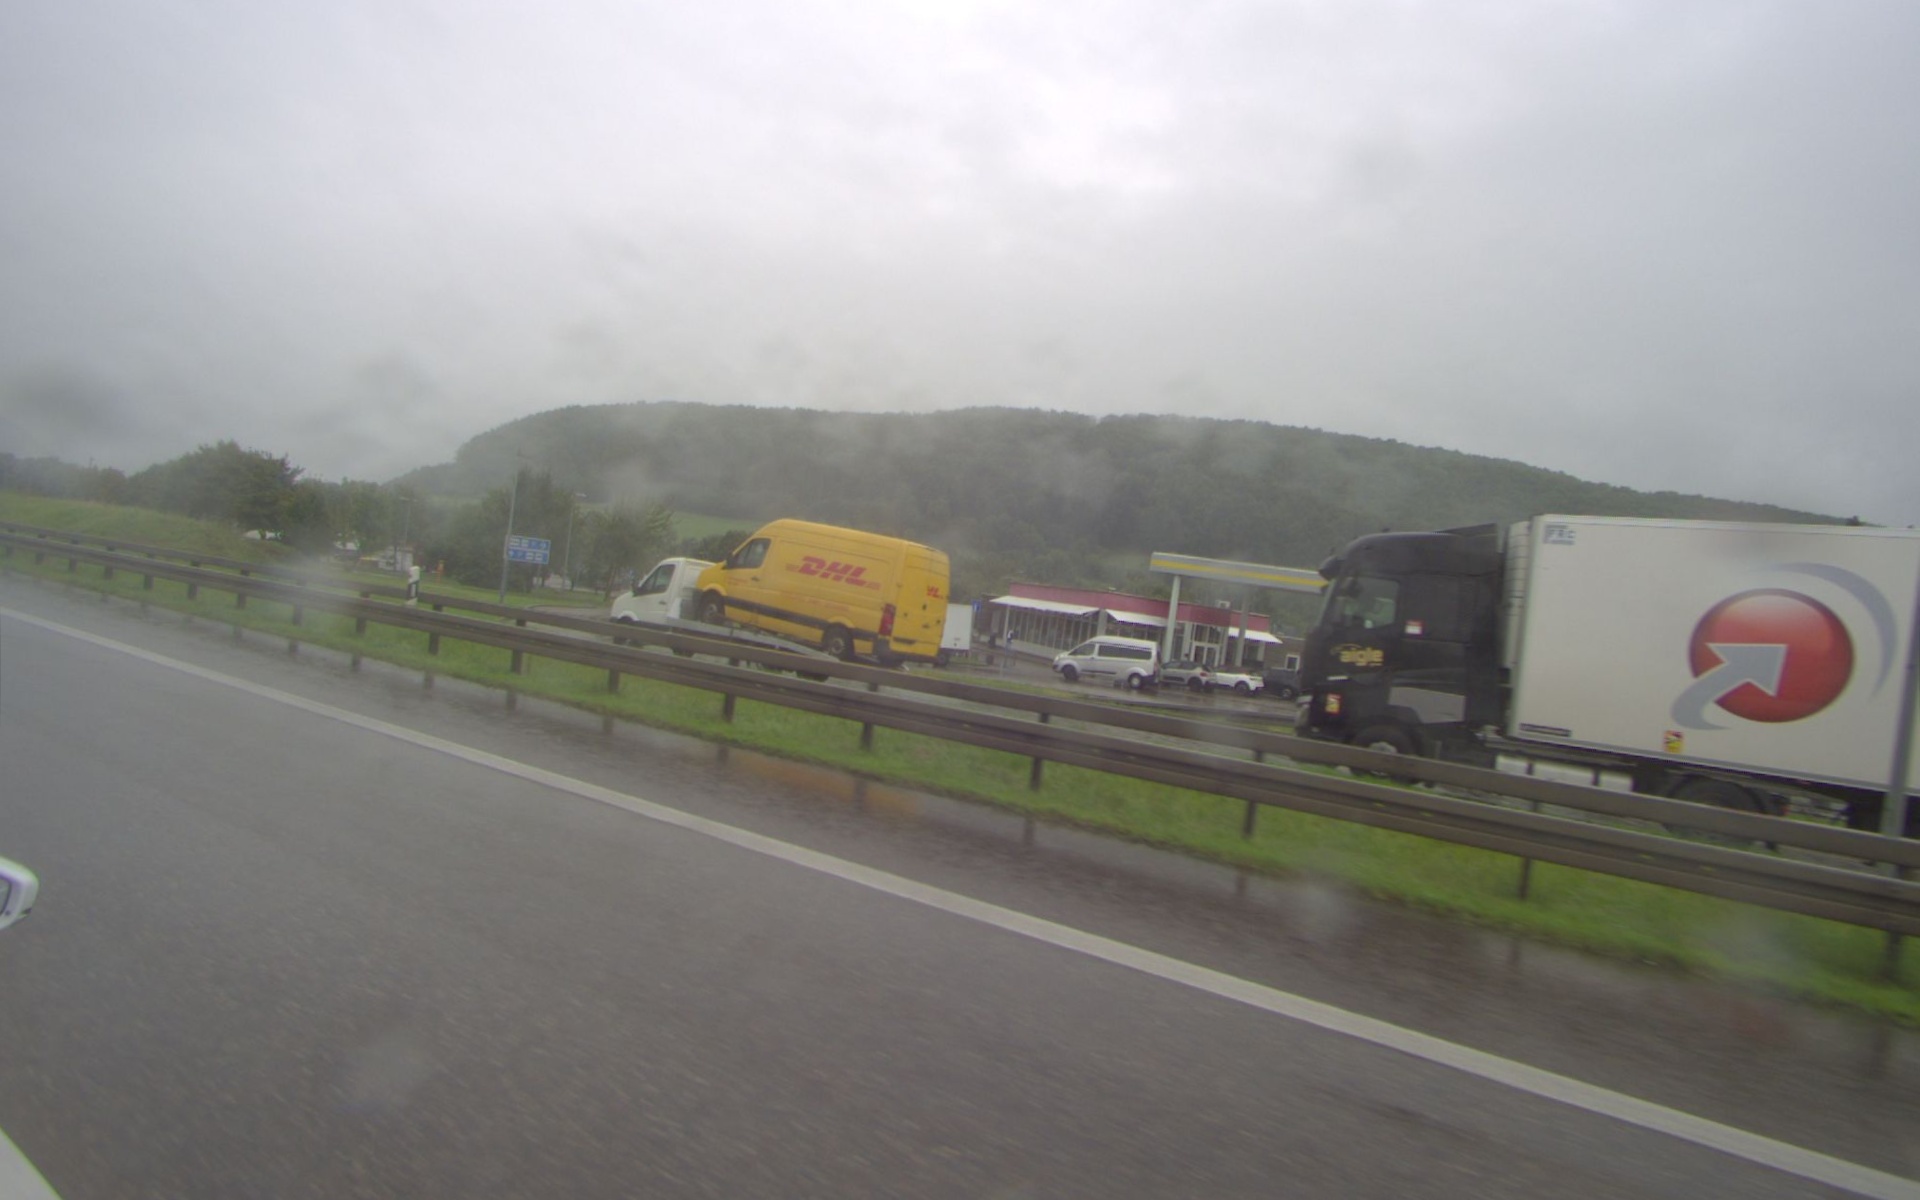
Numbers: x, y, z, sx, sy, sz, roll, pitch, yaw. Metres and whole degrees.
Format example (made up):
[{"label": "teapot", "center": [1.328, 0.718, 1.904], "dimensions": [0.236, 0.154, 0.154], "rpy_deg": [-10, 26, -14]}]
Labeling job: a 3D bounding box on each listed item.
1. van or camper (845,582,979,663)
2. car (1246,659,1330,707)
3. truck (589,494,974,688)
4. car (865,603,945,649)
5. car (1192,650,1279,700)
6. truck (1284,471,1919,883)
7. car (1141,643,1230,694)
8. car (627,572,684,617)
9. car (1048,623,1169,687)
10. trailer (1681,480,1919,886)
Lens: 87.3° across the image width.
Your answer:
[{"label": "van or camper", "center": [-2.311, 1.110, 48.835], "dimensions": [6.062, 3.094, 2.000], "rpy_deg": [8, -1, -3]}, {"label": "car", "center": [18.126, 4.603, 55.635], "dimensions": [3.932, 2.036, 1.999], "rpy_deg": [7, -2, 30]}, {"label": "truck", "center": [-4.126, -0.338, 21.673], "dimensions": [8.721, 3.184, 2.294], "rpy_deg": [6, -2, 34]}, {"label": "car", "center": [-3.127, 1.454, 56.885], "dimensions": [3.940, 2.038, 1.993], "rpy_deg": [8, -1, -17]}, {"label": "car", "center": [14.714, 4.003, 53.824], "dimensions": [3.941, 2.036, 1.790], "rpy_deg": [6, -3, 39]}, {"label": "truck", "center": [9.009, 0.812, 13.766], "dimensions": [7.688, 4.269, 3.533], "rpy_deg": [6, -2, 32]}, {"label": "car", "center": [11.838, 3.584, 52.932], "dimensions": [3.941, 2.036, 1.994], "rpy_deg": [6, -3, 39]}, {"label": "car", "center": [-20.862, -0.325, 69.317], "dimensions": [2.373, 2.612, 6.718], "rpy_deg": [8, -2, -7]}, {"label": "car", "center": [7.178, 2.648, 48.600], "dimensions": [5.349, 2.335, 2.002], "rpy_deg": [7, -1, 17]}, {"label": "trailer", "center": [14.745, 1.456, 10.011], "dimensions": [11.726, 4.311, 3.522], "rpy_deg": [6, -2, 33]}]
